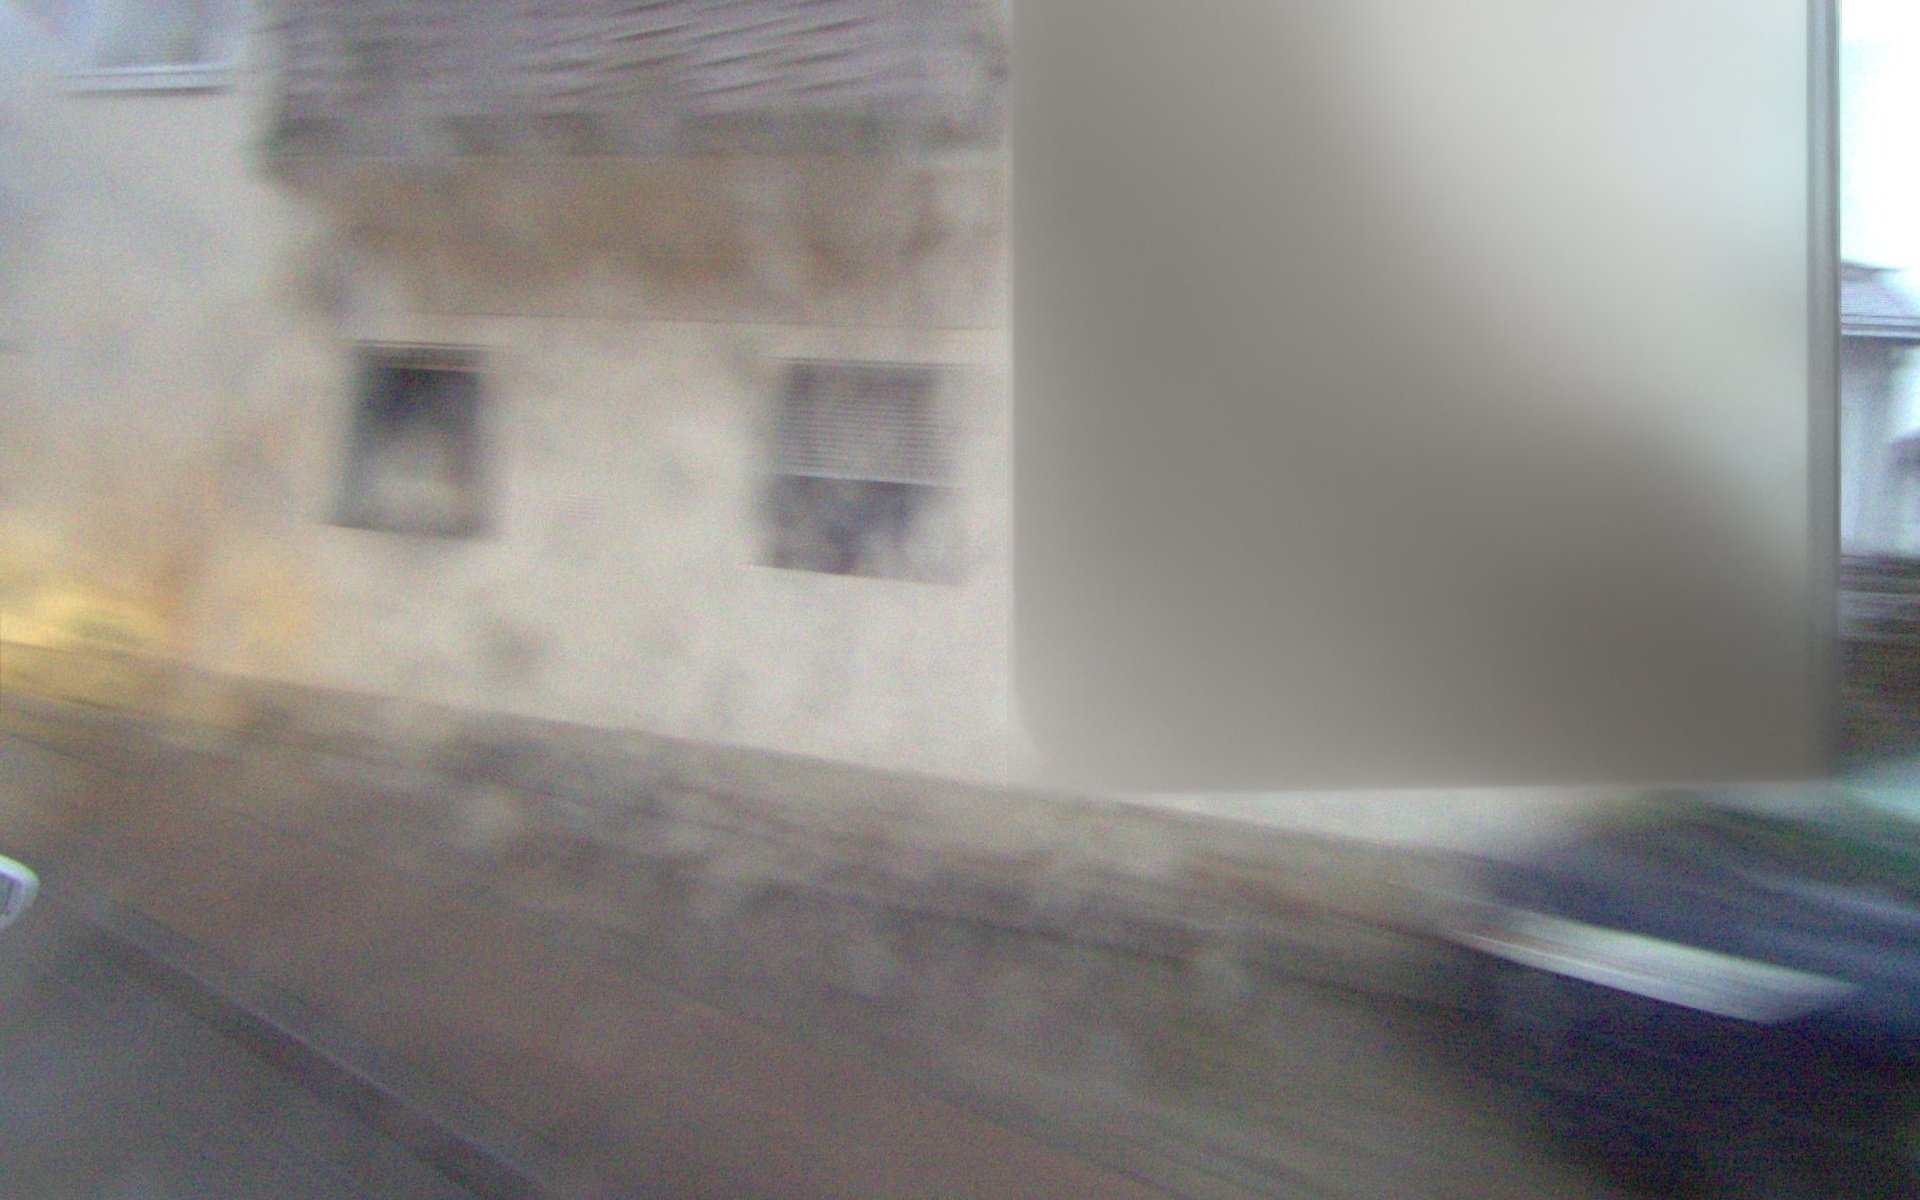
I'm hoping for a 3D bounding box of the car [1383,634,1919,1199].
[{"bbox_3d":[3.703,1.077,2.967,4.197,1.506,1.812,6,1,15],"label":"car"}]
